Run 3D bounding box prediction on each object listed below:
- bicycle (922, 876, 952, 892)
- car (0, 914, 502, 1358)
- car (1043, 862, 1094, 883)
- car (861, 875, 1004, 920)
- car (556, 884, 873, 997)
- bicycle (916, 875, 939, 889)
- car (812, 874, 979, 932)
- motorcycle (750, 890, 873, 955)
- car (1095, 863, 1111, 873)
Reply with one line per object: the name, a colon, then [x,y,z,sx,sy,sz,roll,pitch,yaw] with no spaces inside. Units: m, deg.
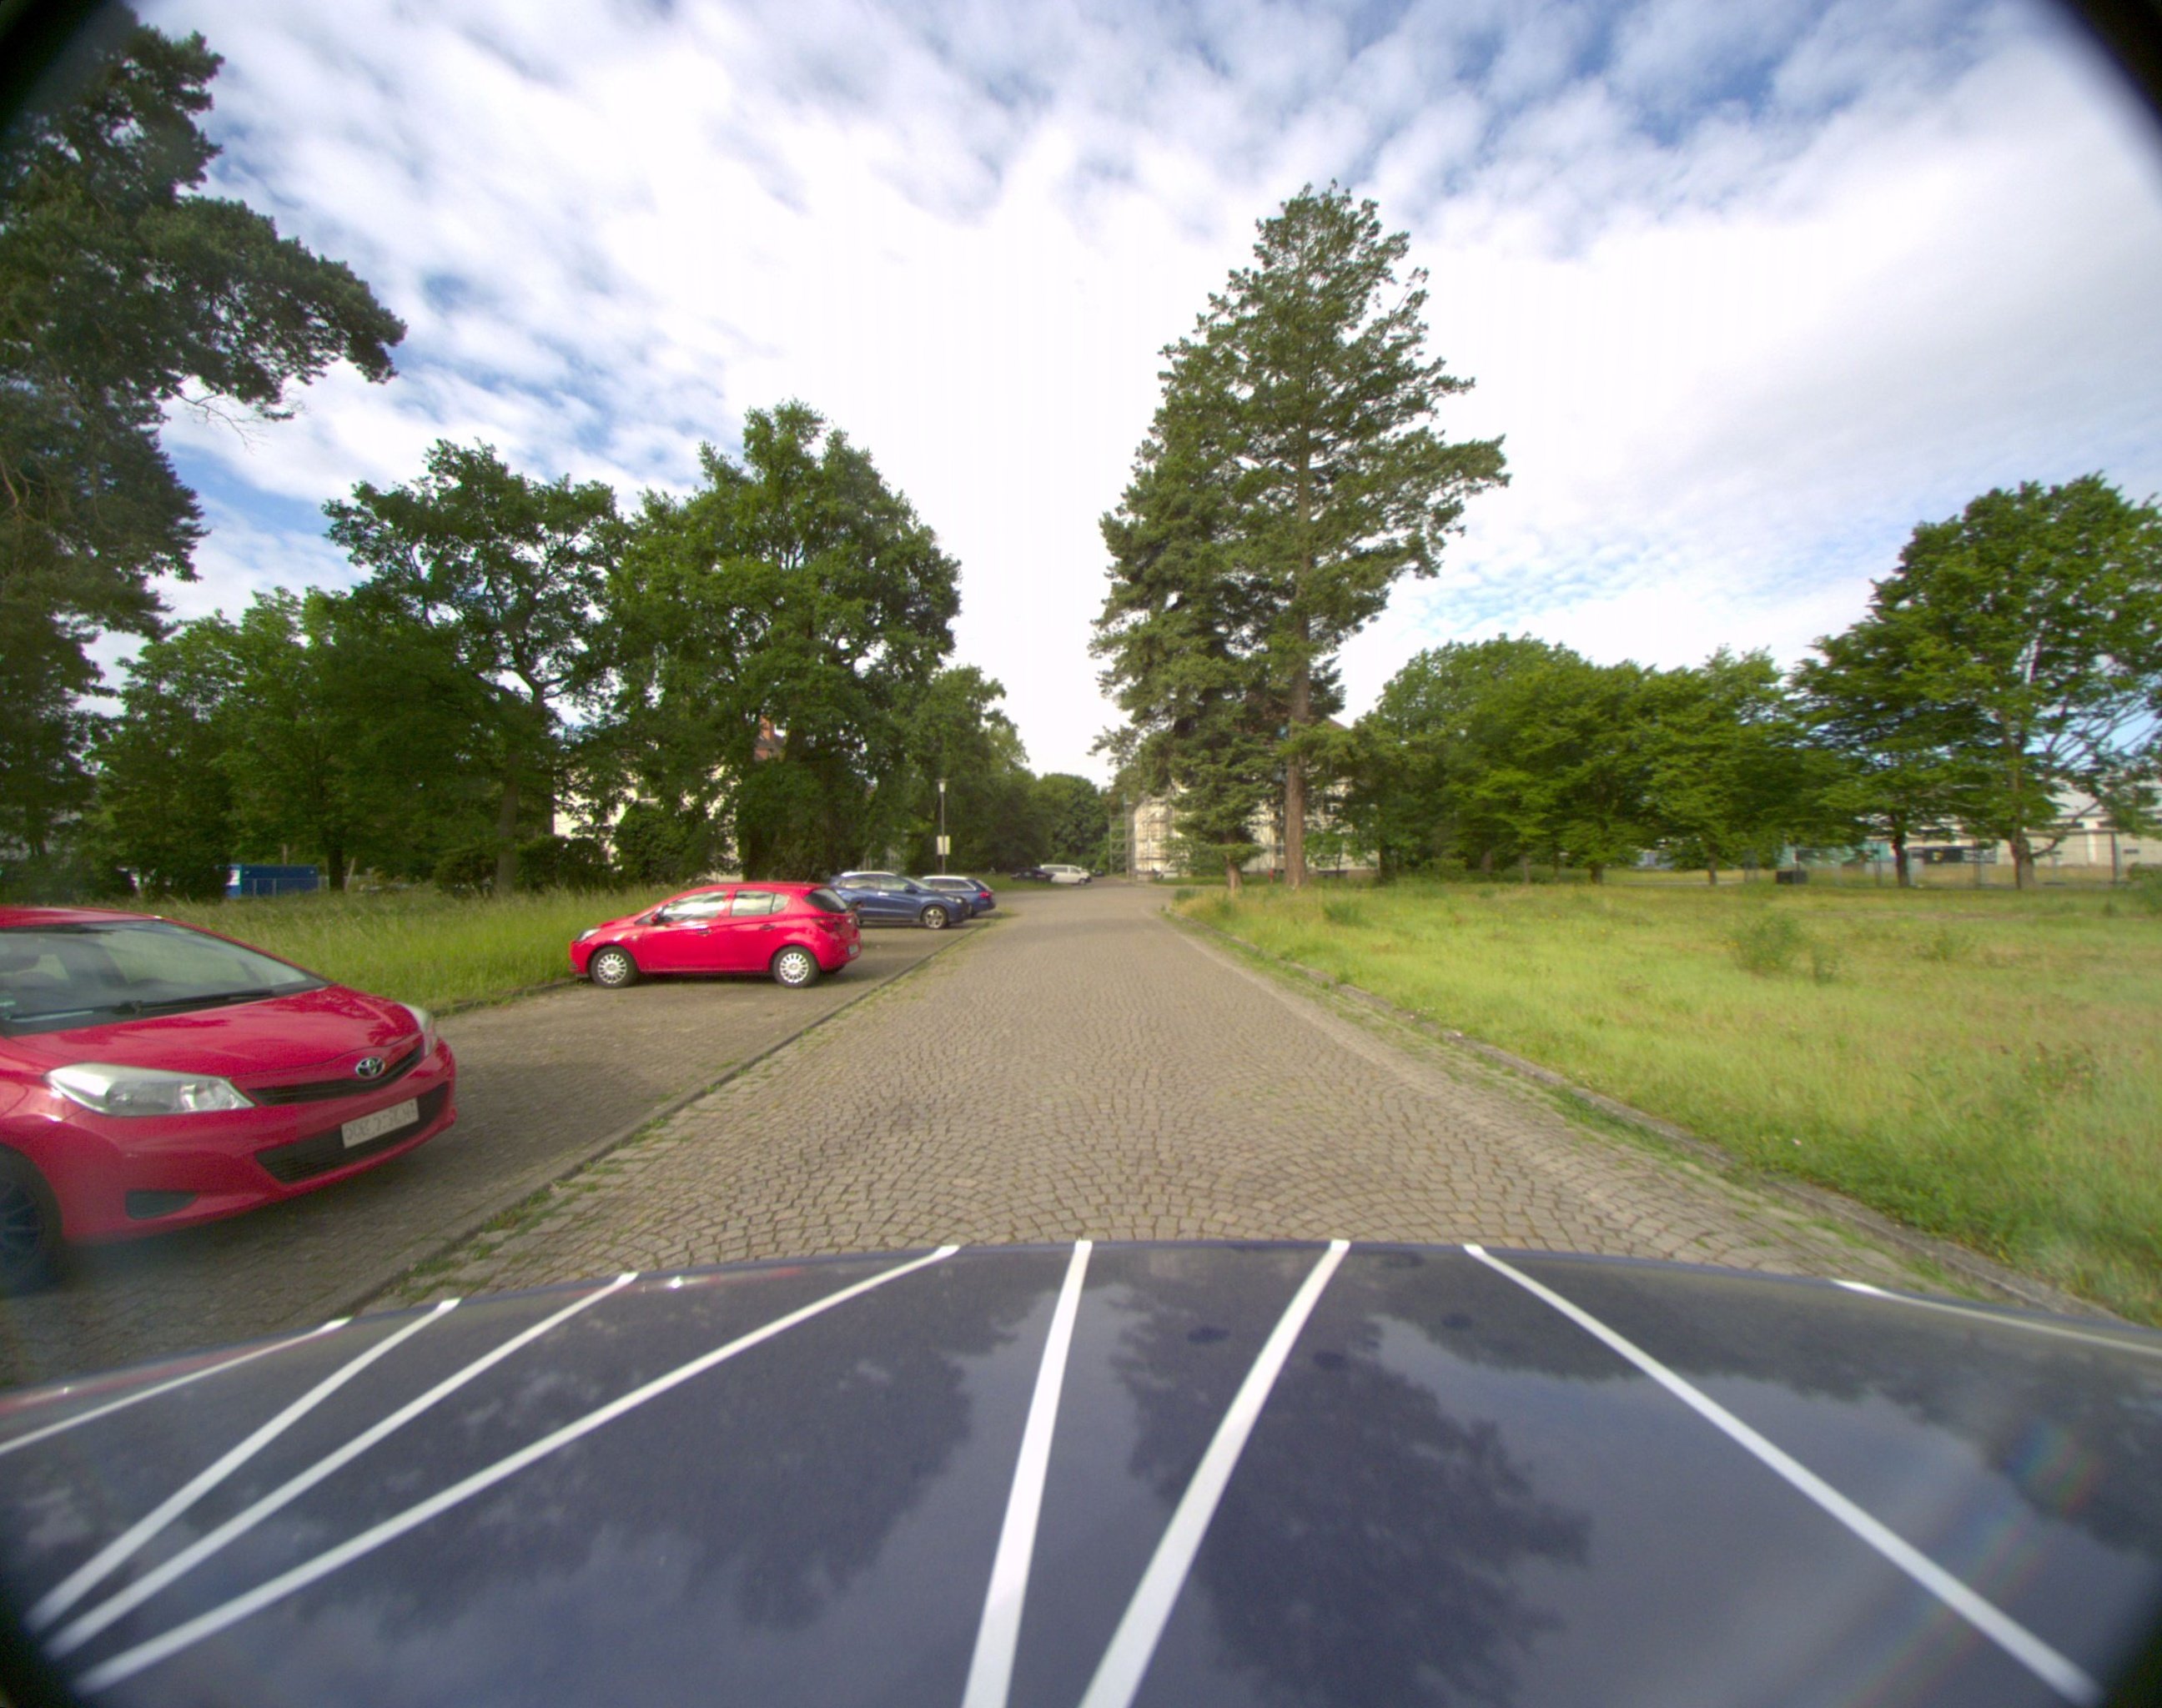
bicycle: [-10.377,2.161,54.720,2.020,1.082,0.478,0,2,-22]
car: [-5.462,1.135,3.650,3.997,1.509,1.738,-1,-1,0]
car: [-1.267,1.799,75.063,4.916,1.982,2.000,-1,-1,-3]
car: [-5.068,1.475,26.336,4.515,1.456,1.896,0,-1,3]
car: [-5.236,1.214,11.249,3.849,1.496,1.738,0,-1,-1]
bicycle: [-12.287,2.248,60.974,1.753,1.082,0.552,0,2,-22]
car: [-5.150,1.348,21.556,4.274,1.564,1.895,0,-1,-1]
motorcycle: [-5.499,1.387,15.593,2.271,1.267,0.605,0,0,-5]
car: [4.059,2.610,141.585,2.029,1.915,3.997,-1,-1,-11]
